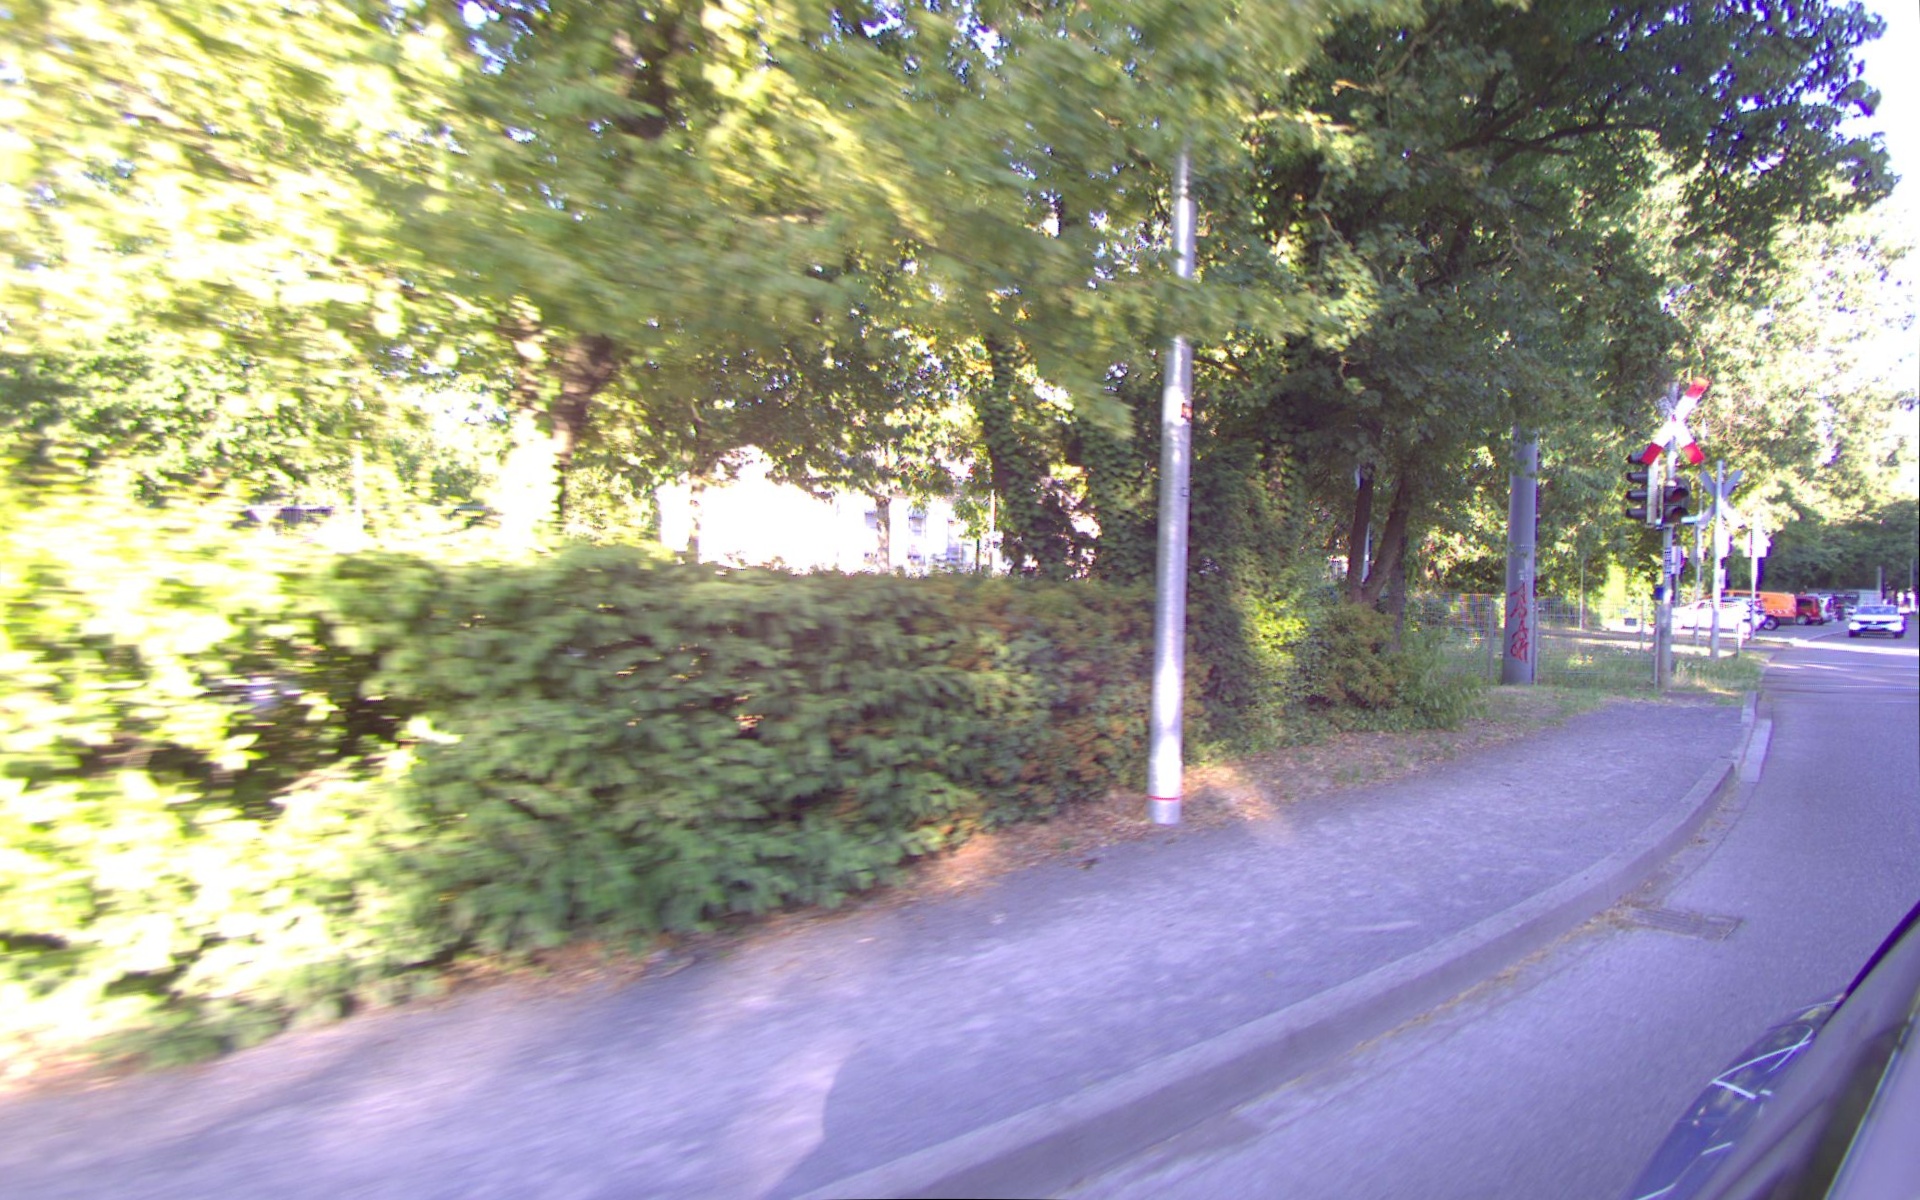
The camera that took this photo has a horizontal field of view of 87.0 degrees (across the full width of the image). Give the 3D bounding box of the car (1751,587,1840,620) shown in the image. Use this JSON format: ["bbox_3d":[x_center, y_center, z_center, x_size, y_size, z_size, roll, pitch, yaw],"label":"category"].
[{"bbox_3d":[52.978,0.195,64.246,1.885,1.886,3.983,0,3,-39],"label":"car"}]

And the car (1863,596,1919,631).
[{"bbox_3d":[42.520,0.593,45.921,4.029,1.471,1.687,0,2,-40],"label":"car"}]

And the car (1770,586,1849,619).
[{"bbox_3d":[55.125,0.123,65.683,1.752,1.906,3.610,0,3,-40],"label":"car"}]

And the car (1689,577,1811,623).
[{"bbox_3d":[41.098,-0.028,52.737,4.796,2.022,2.049,5,4,43],"label":"car"}]

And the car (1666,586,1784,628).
[{"bbox_3d":[33.932,0.262,44.953,3.988,1.565,1.708,5,4,43],"label":"car"}]

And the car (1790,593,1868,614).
[{"bbox_3d":[69.237,0.268,80.676,1.681,1.484,4.441,0,2,-40],"label":"car"}]

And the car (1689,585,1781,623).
[{"bbox_3d":[39.082,0.190,51.071,1.651,1.651,3.401,0,4,-43],"label":"car"}]

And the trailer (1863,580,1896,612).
[{"bbox_3d":[79.006,-0.330,86.925,3.638,2.673,1.600,0,2,-41],"label":"trailer"}]
